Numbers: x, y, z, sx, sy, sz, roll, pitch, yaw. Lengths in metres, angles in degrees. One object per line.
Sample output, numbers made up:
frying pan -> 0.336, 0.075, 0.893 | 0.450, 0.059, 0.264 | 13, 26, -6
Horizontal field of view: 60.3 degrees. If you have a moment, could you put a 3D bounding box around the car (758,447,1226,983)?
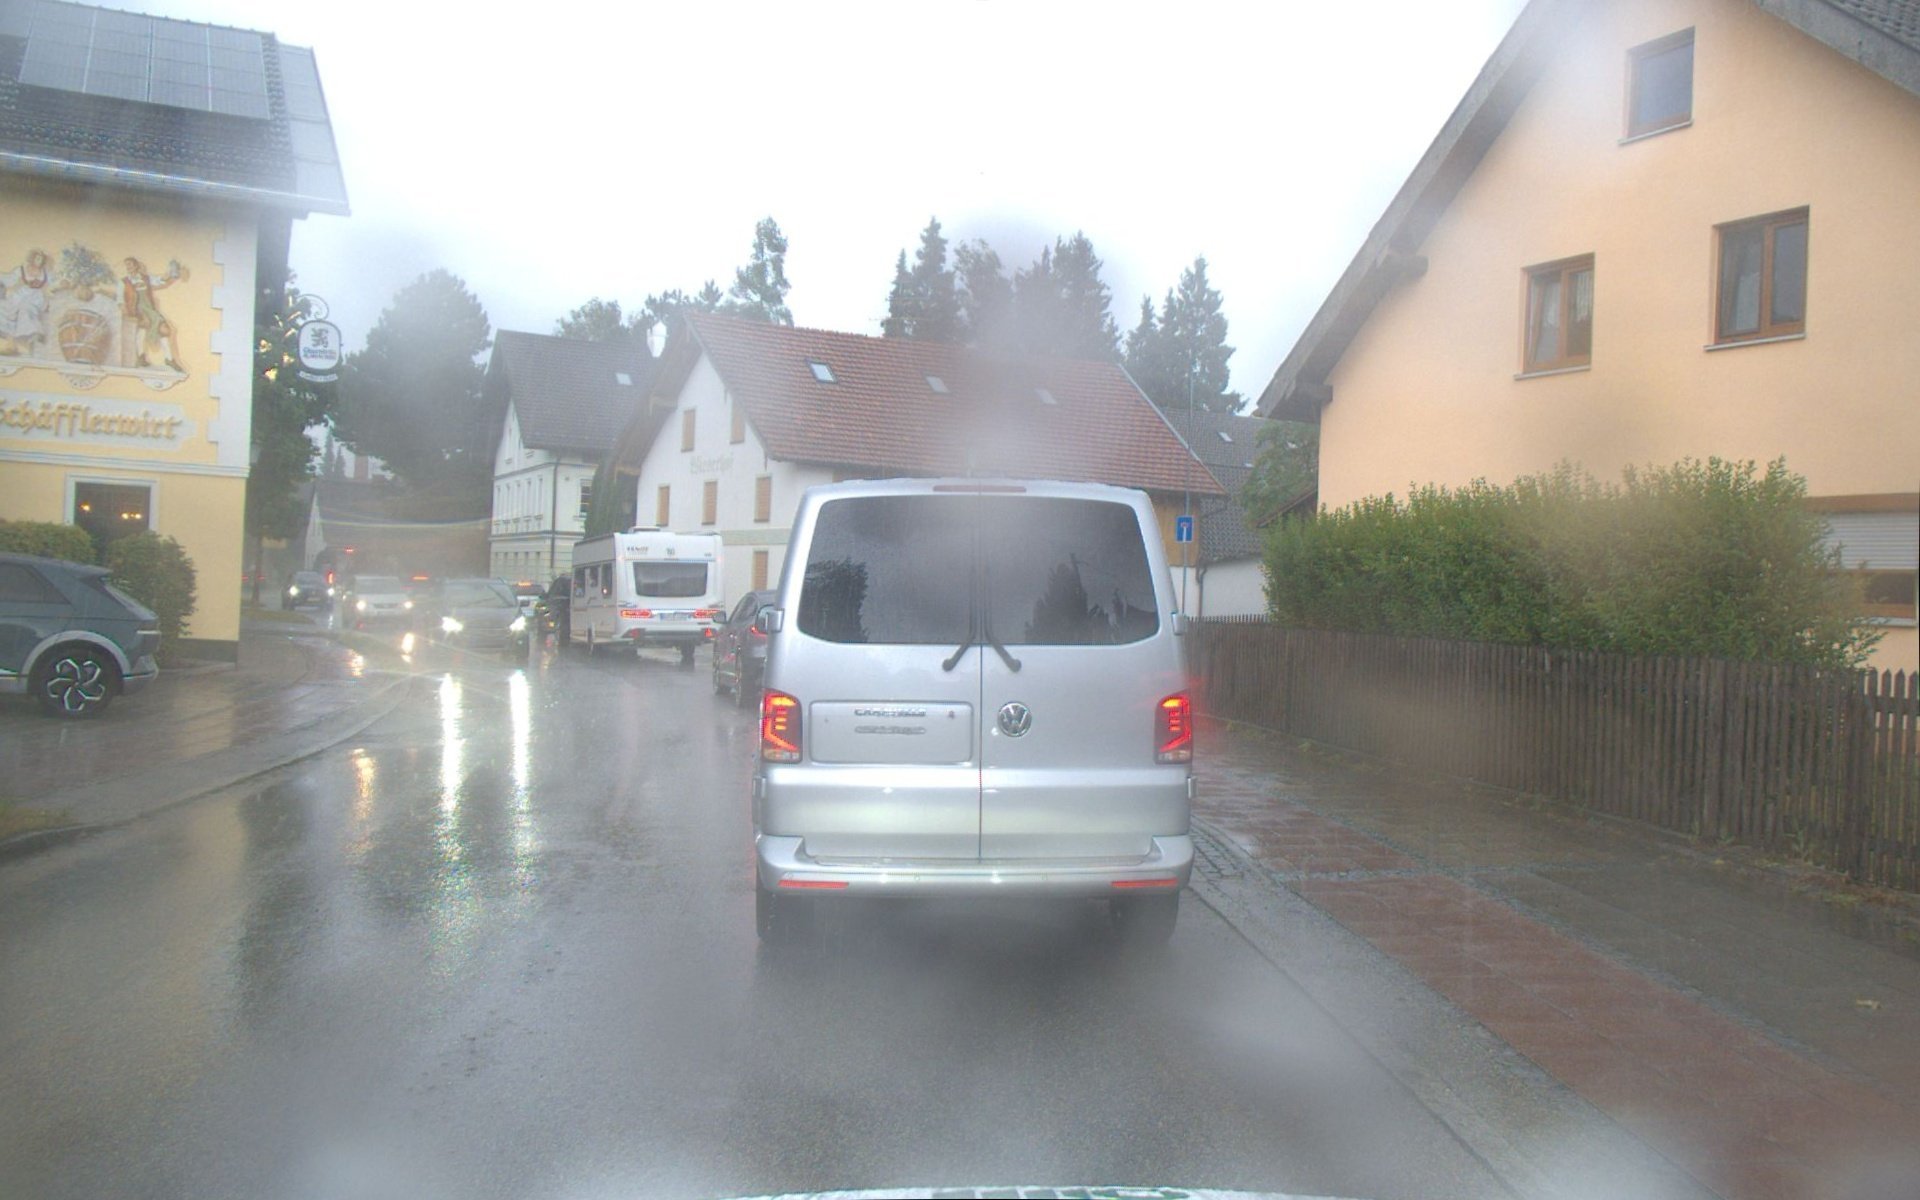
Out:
car -> 0.112, 0.430, 8.736 | 1.740, 1.997, 5.073 | 0, 0, 0

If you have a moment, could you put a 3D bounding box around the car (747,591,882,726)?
car -> -2.134, 0.722, 23.224 | 1.676, 1.611, 4.678 | -1, 1, -8

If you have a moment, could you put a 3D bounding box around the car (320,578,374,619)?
car -> -32.520, -0.117, 87.664 | 2.143, 1.932, 4.971 | 3, 0, -27

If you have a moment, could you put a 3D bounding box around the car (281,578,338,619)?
car -> -27.110, -0.066, 68.852 | 1.572, 1.638, 3.499 | 1, 0, -33

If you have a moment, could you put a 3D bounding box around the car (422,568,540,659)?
car -> -10.114, 0.246, 34.736 | 1.897, 1.775, 4.161 | 0, 0, -24

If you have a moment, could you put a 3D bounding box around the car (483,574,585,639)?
car -> -13.772, 0.209, 53.241 | 2.143, 1.932, 4.971 | 3, -1, -27

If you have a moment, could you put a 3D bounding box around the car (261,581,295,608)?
car -> -55.430, -0.447, 134.369 | 2.143, 1.932, 4.971 | 3, 0, -27

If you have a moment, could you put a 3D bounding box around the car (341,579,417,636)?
car -> -18.232, 0.218, 51.815 | 1.733, 1.707, 3.963 | 0, 0, -28

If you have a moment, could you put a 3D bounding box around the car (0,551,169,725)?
car -> -10.574, 0.269, 16.769 | 4.427, 1.594, 1.822 | 5, 0, -29

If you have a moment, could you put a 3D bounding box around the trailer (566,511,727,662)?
trailer -> -6.879, -0.272, 35.647 | 2.239, 2.955, 6.091 | 1, 0, -22

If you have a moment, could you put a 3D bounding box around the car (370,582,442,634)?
car -> -23.241, 0.294, 69.264 | 2.143, 1.932, 4.971 | 3, 0, -27

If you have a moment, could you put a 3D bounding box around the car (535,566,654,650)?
car -> -9.102, 0.169, 40.836 | 2.025, 1.932, 5.141 | 1, 0, -22
